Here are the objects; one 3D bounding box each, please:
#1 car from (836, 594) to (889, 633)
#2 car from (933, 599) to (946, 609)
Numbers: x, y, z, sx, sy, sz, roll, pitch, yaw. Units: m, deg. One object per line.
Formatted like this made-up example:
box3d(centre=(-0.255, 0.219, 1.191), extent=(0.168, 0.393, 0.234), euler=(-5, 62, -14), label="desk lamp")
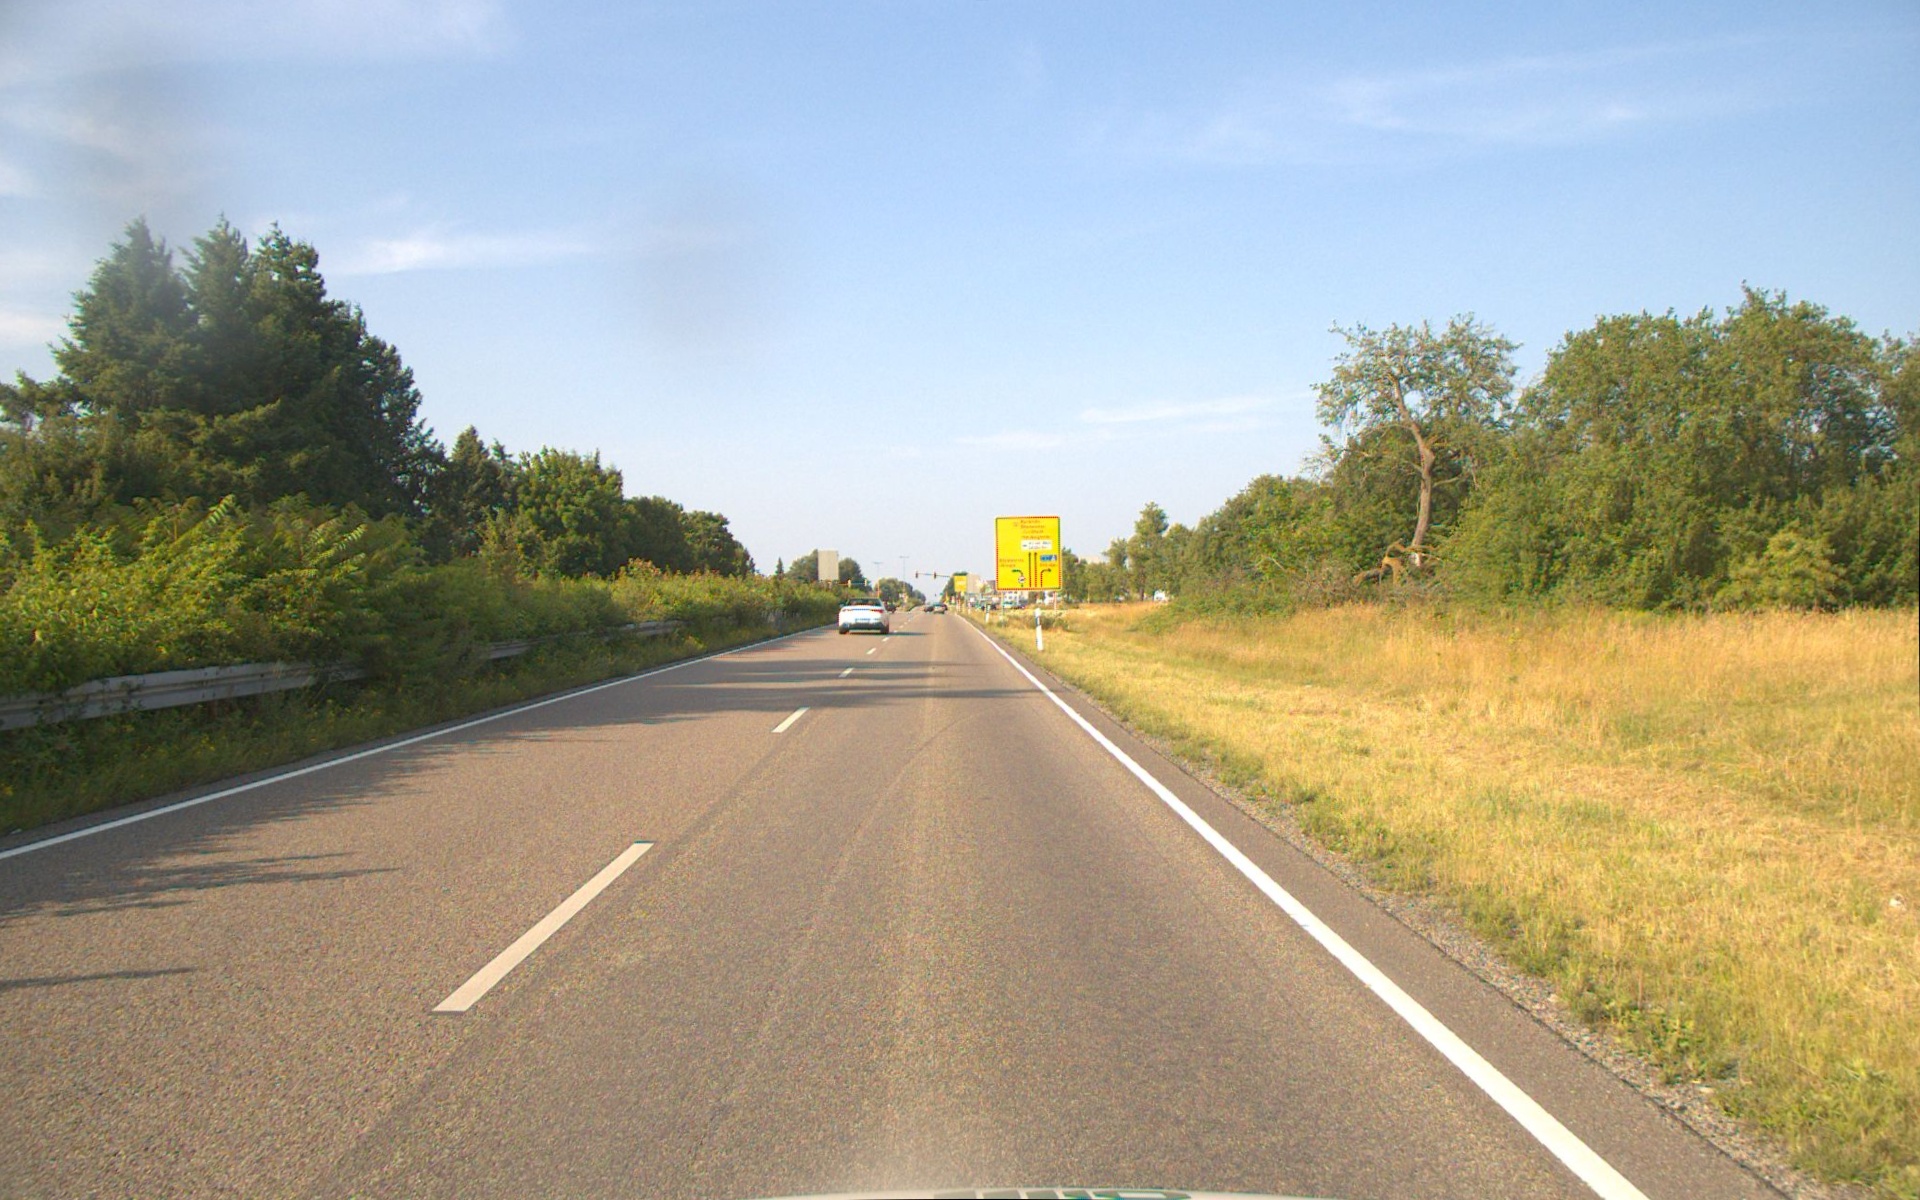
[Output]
box3d(centre=(-3.696, 0.499, 63.103), extent=(1.871, 1.447, 3.999), euler=(0, 0, -2), label="car")
box3d(centre=(-3.150, 0.637, 254.183), extent=(1.953, 1.512, 3.999), euler=(0, 0, -2), label="car")
